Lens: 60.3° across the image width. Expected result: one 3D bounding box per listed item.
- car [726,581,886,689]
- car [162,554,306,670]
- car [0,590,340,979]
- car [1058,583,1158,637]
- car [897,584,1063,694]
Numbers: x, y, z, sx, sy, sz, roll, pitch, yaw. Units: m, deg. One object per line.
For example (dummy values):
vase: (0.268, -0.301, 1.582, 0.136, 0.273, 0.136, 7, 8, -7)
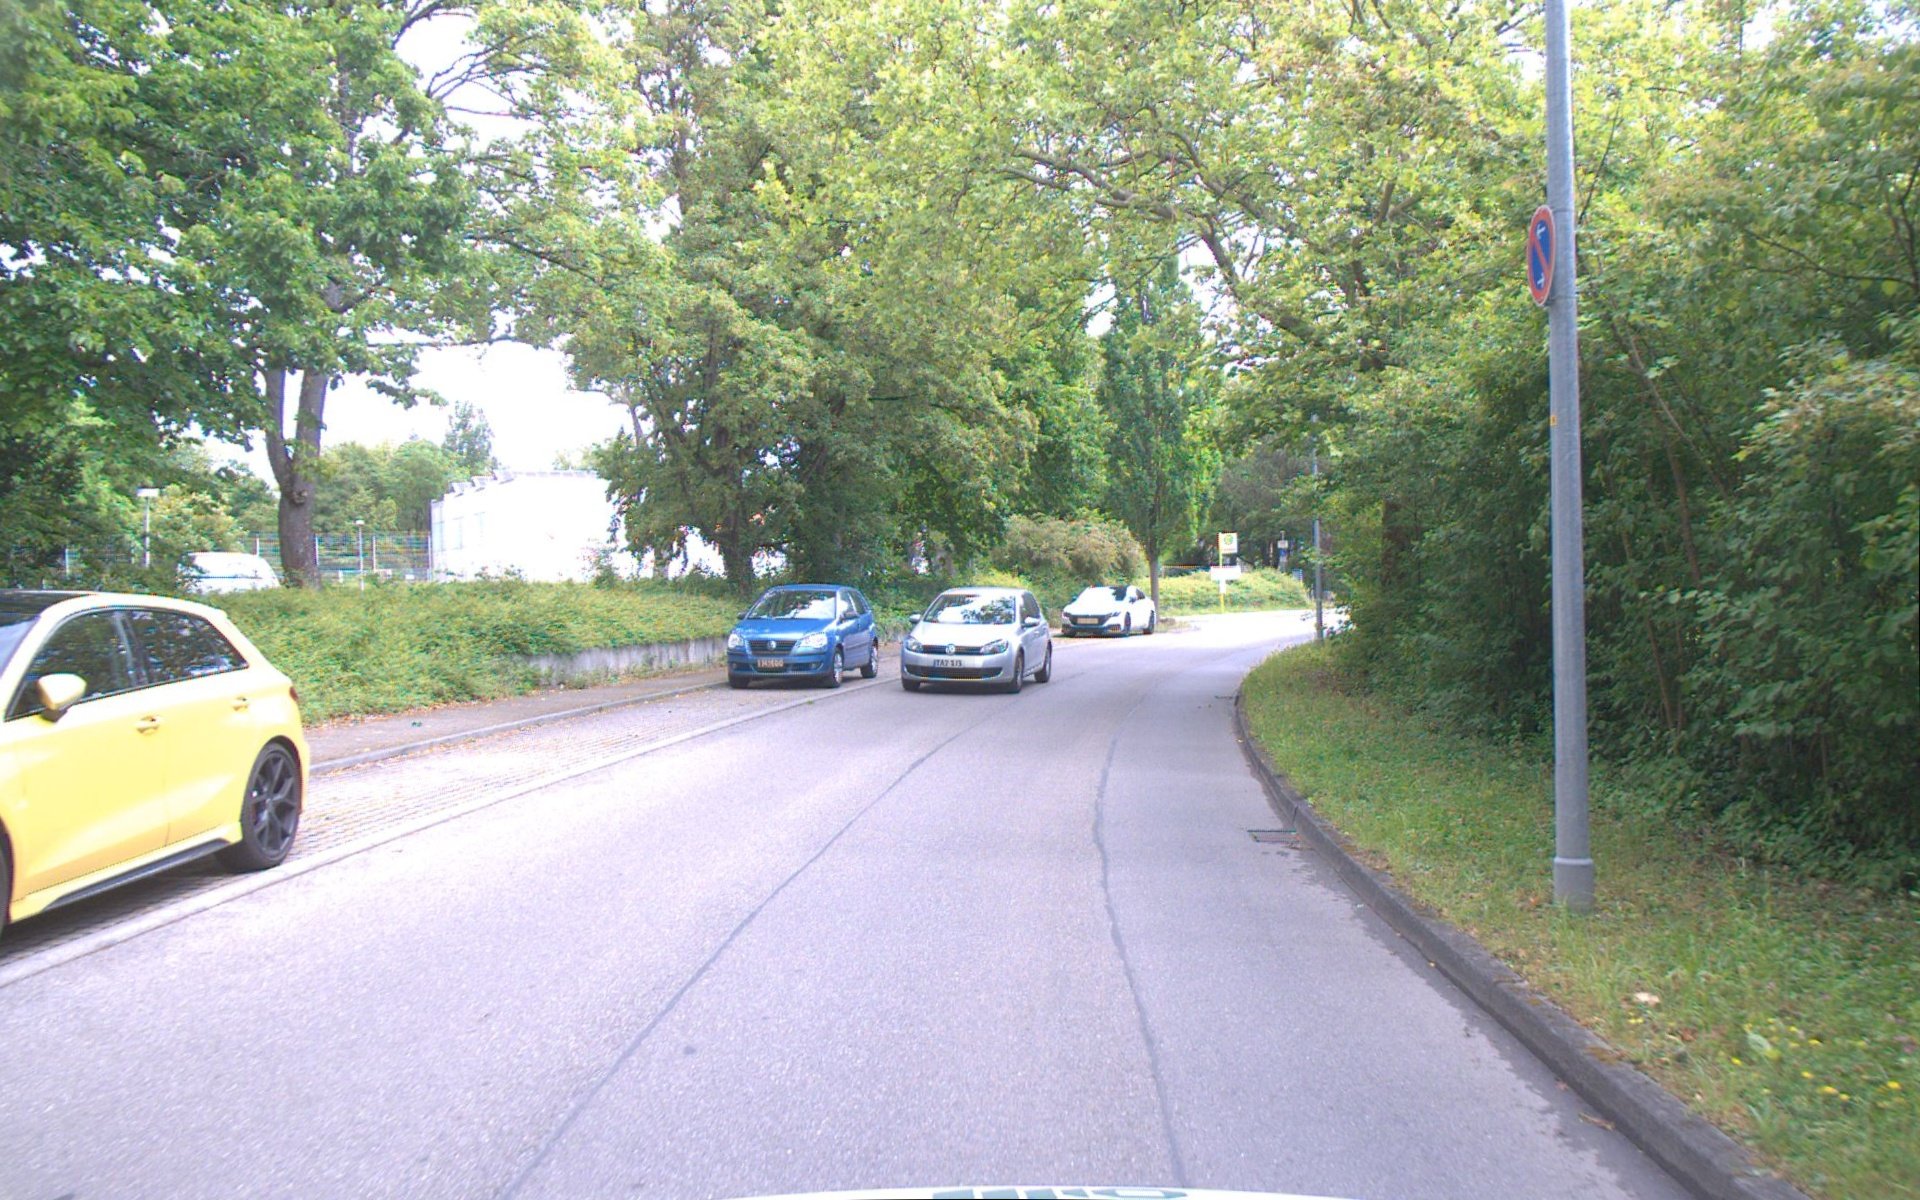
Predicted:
car: (-2.242, 0.472, 24.953, 1.500, 1.484, 3.723, -1, 0, 9)
car: (-11.617, 0.112, 26.354, 1.722, 1.650, 3.836, -2, 3, -29)
car: (-4.337, 0.681, 7.105, 1.665, 1.427, 4.274, 0, 0, 1)
car: (4.252, 0.240, 46.953, 1.776, 1.449, 4.361, 0, 0, 20)
car: (0.391, 0.513, 24.979, 1.641, 1.488, 4.065, 1, 1, 13)
